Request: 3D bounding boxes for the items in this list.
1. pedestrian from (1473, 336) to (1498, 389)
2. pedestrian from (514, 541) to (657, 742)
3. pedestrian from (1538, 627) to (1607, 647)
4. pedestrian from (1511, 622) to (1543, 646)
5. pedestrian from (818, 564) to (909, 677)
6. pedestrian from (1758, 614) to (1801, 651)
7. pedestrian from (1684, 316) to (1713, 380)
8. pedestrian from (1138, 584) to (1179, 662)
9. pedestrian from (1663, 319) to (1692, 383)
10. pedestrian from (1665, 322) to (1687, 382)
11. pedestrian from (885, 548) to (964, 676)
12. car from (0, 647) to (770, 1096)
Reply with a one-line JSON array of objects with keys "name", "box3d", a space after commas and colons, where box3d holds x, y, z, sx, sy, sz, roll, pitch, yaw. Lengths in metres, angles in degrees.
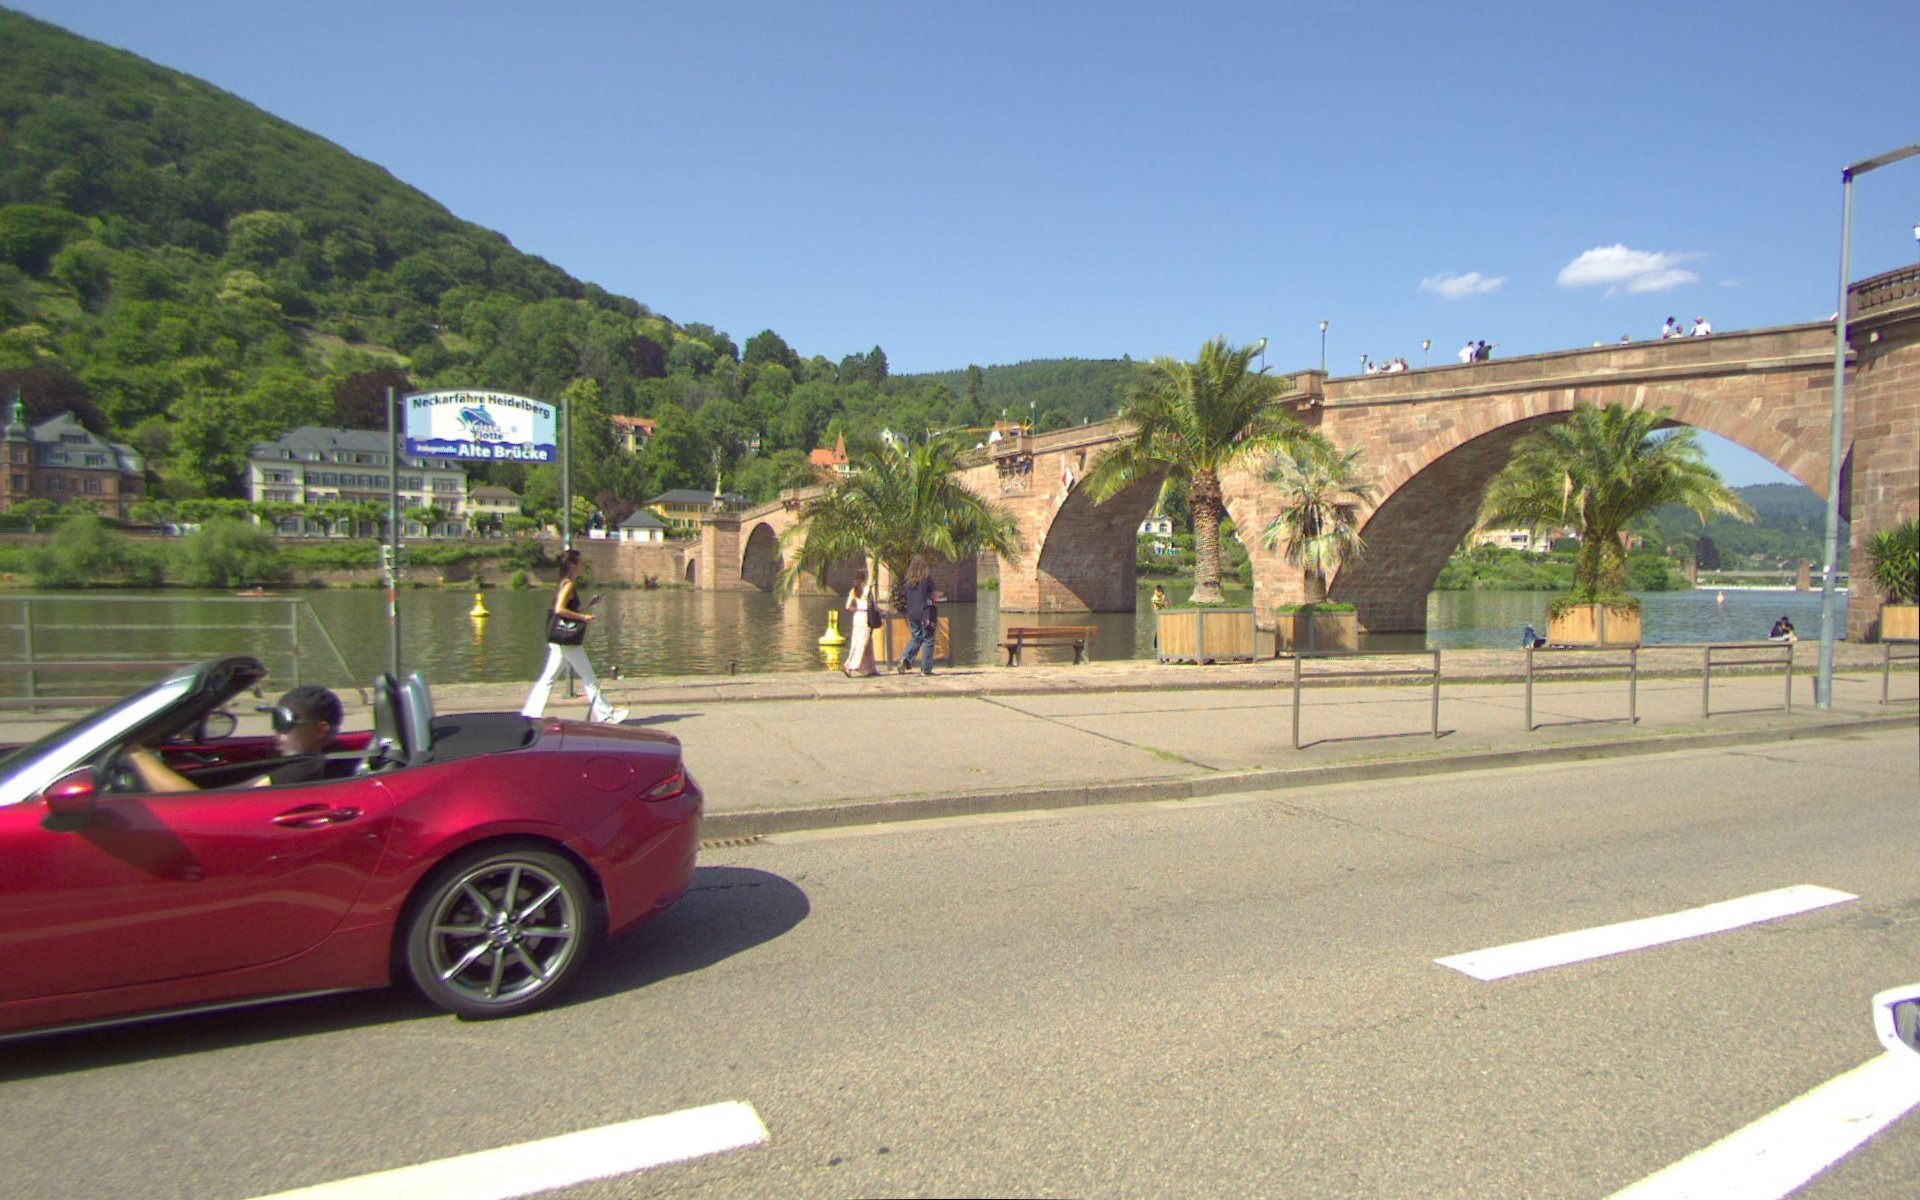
[{"name": "pedestrian", "box3d": [22.037, -9.954, 42.159, 0.618, 2.040, 0.689, 0, 1, -31]}, {"name": "pedestrian", "box3d": [-3.460, 0.356, 9.253, 1.136, 1.724, 0.813, 1, 1, -27]}, {"name": "pedestrian", "box3d": [14.904, 0.895, 24.421, 1.720, 0.427, 0.642, 0, -1, -28]}, {"name": "pedestrian", "box3d": [14.194, 0.854, 25.153, 0.506, 0.571, 0.463, 1, -3, -18]}, {"name": "pedestrian", "box3d": [-1.395, 0.309, 14.471, 1.101, 1.554, 0.791, 1, -3, -27]}, {"name": "pedestrian", "box3d": [29.006, 1.155, 35.547, 1.130, 1.257, 0.724, 1, 1, -24]}, {"name": "pedestrian", "box3d": [26.146, -8.905, 35.550, 0.688, 2.040, 0.619, 0, 1, -35]}, {"name": "pedestrian", "box3d": [4.239, 0.473, 21.439, 0.668, 1.622, 0.594, 2, 2, 29]}, {"name": "pedestrian", "box3d": [25.725, -8.912, 36.004, 0.688, 2.040, 0.619, 0, 1, -35]}, {"name": "pedestrian", "box3d": [26.177, -9.056, 36.732, 0.549, 2.040, 0.455, 0, 1, -35]}, {"name": "pedestrian", "box3d": [-0.484, 0.147, 14.067, 0.781, 1.714, 0.845, 1, 2, 27]}, {"name": "car", "box3d": [-2.703, 0.821, 3.815, 3.583, 1.210, 1.665, 1, -1, -28]}]
